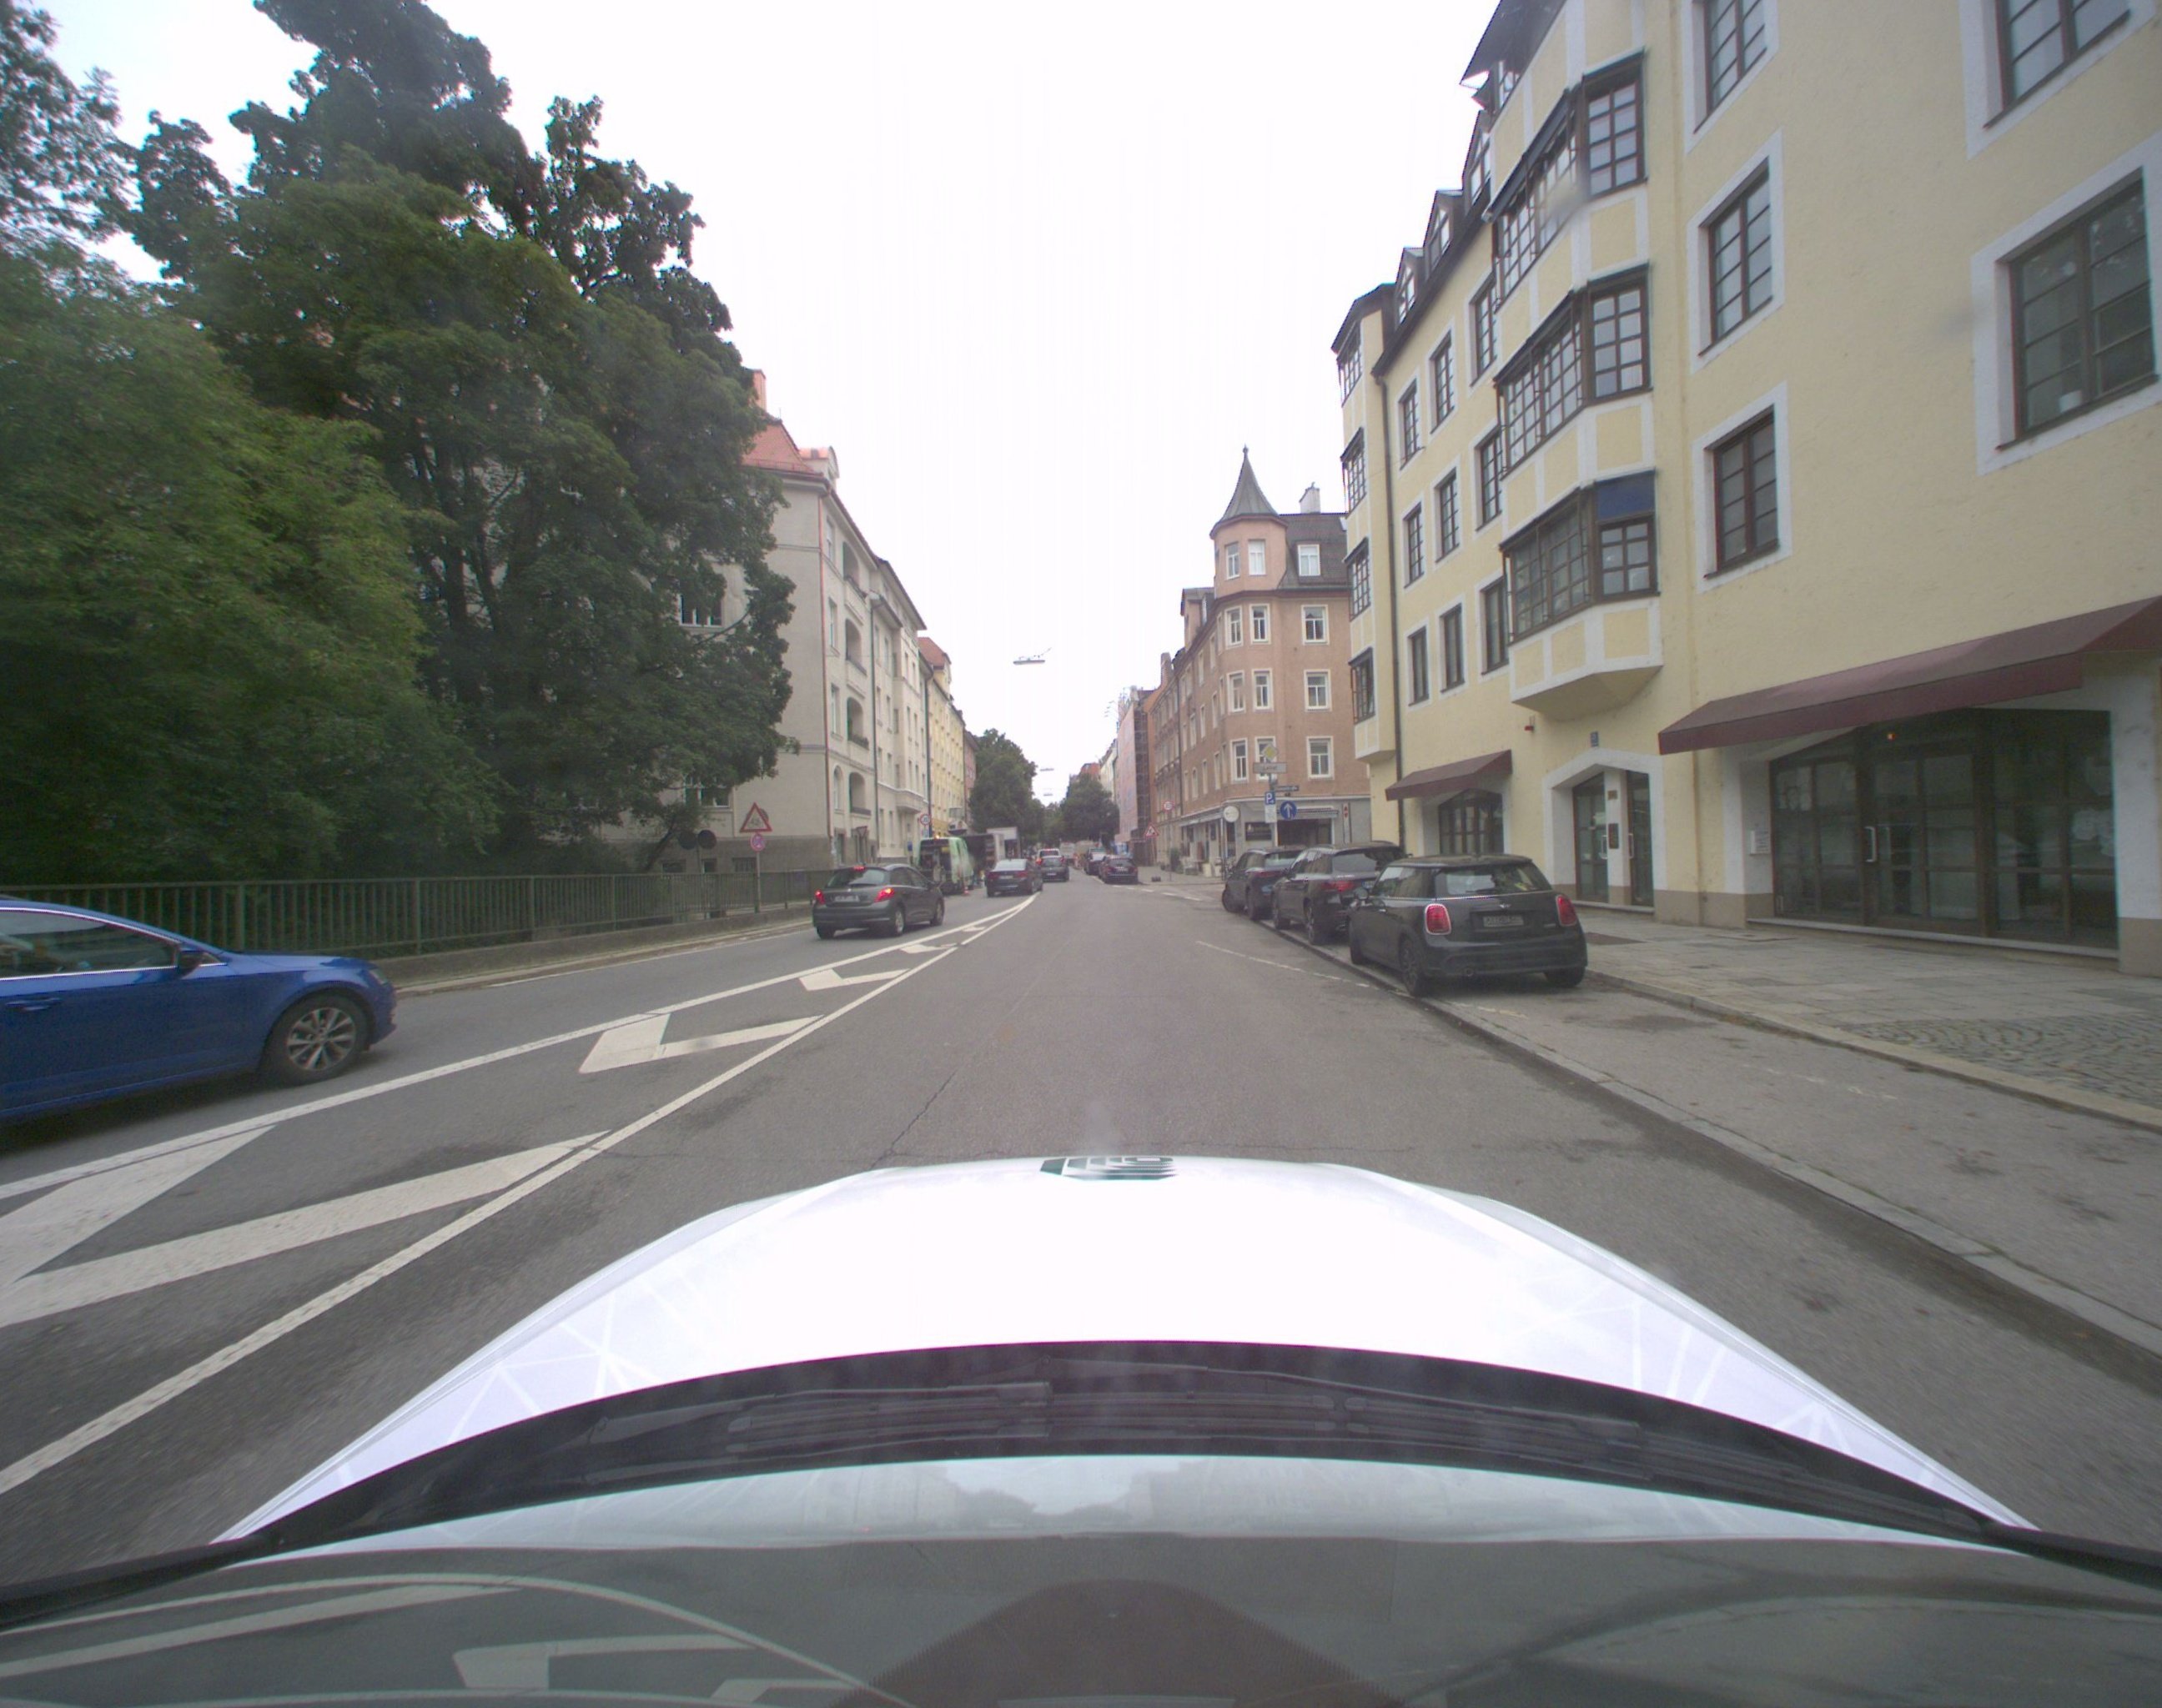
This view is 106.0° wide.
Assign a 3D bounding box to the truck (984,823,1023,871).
[{"bbox_3d":[-6.717,-0.625,71.548,3.005,3.951,6.988,-2,0,-3],"label":"truck"}]

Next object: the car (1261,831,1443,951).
[{"bbox_3d":[4.550,0.543,14.466,1.750,1.679,4.709,-3,0,2],"label":"car"}]

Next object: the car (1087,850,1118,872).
[{"bbox_3d":[1.473,0.496,57.760,1.840,1.429,4.302,1,1,-3],"label":"car"}]

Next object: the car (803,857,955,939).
[{"bbox_3d":[-4.187,0.857,17.609,1.749,1.461,4.083,-2,0,8],"label":"car"}]

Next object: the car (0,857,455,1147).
[{"bbox_3d":[-6.497,0.806,4.445,1.975,1.454,4.747,-2,0,10],"label":"car"}]

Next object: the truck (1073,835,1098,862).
[{"bbox_3d":[0.488,-0.607,91.265,2.485,2.973,5.323,-2,0,-2],"label":"truck"}]

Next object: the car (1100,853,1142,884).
[{"bbox_3d":[2.073,0.734,43.076,1.840,1.429,4.179,1,1,-3],"label":"car"}]

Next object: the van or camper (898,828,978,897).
[{"bbox_3d":[-6.534,0.312,38.048,2.593,2.840,6.183,-2,1,-1],"label":"van or camper"}]

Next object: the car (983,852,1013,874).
[{"bbox_3d":[-6.480,0.673,63.879,1.984,1.610,4.138,-2,0,-1],"label":"car"}]

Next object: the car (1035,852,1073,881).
[{"bbox_3d":[-1.491,0.698,46.099,1.984,1.429,4.139,-2,1,-1],"label":"car"}]

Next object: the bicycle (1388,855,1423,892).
[{"bbox_3d":[8.898,0.518,22.381,0.270,0.977,1.684,-1,0,-1],"label":"bicycle"}]

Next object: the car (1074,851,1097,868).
[{"bbox_3d":[0.392,0.465,75.271,1.984,1.429,4.139,-2,1,-1],"label":"car"}]

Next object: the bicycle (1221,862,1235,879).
[{"bbox_3d":[6.948,0.773,38.577,0.455,0.805,1.327,-1,0,1],"label":"bicycle"}]

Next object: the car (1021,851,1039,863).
[{"bbox_3d":[-6.145,0.365,98.246,1.935,1.448,3.863,-2,0,-2],"label":"car"}]

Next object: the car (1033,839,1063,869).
[{"bbox_3d":[-2.383,-0.053,59.937,1.984,2.075,4.139,-2,1,-1],"label":"car"}]

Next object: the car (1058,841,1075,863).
[{"bbox_3d":[-1.725,-0.264,98.018,1.933,2.480,4.782,-2,0,0],"label":"car"}]

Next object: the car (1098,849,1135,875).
[{"bbox_3d":[2.105,0.441,48.979,1.840,1.429,4.136,1,1,-3],"label":"car"}]

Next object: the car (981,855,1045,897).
[{"bbox_3d":[-2.706,0.836,33.663,1.982,1.429,4.909,-2,1,2],"label":"car"}]

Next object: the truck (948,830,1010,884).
[{"bbox_3d":[-5.925,0.077,48.507,2.765,2.873,7.200,-2,1,-1],"label":"truck"}]

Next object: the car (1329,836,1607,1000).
[{"bbox_3d":[4.317,0.616,9.798,1.748,1.496,3.828,-3,0,5],"label":"car"}]

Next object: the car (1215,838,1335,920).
[{"bbox_3d":[4.612,0.551,20.069,1.813,1.679,4.510,-3,0,0],"label":"car"}]

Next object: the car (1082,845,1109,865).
[{"bbox_3d":[1.140,0.051,65.743,1.984,1.429,4.139,-2,1,-1],"label":"car"}]
